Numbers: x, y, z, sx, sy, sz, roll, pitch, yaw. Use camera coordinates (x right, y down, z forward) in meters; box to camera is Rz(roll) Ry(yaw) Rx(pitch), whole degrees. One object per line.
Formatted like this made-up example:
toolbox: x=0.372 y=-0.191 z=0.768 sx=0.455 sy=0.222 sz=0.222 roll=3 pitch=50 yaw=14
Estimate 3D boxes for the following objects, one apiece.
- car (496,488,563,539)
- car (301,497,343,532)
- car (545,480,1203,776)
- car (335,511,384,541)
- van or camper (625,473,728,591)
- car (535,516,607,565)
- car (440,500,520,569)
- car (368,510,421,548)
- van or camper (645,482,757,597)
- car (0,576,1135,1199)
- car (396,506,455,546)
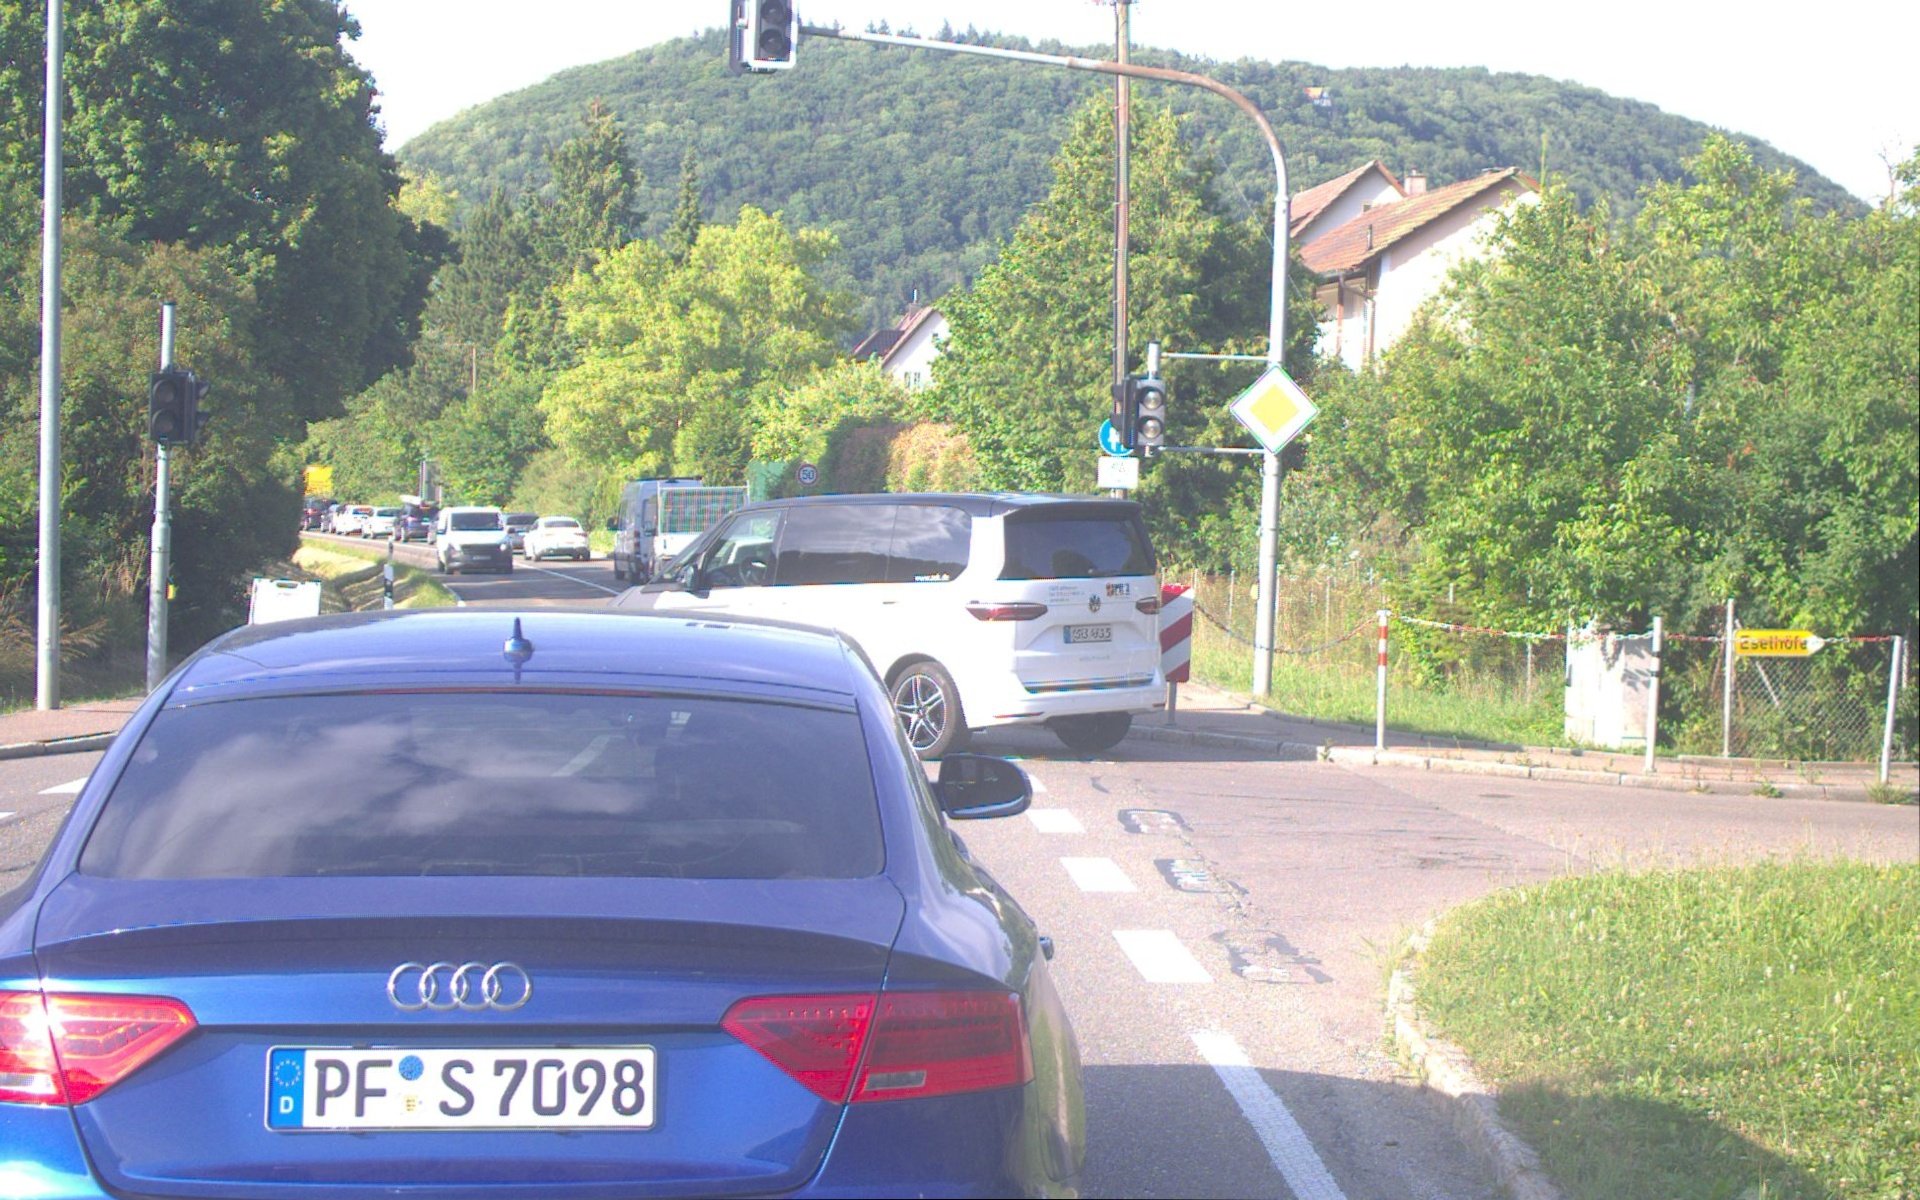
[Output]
car: x=-15.521 y=-3.110 z=123.799 sx=1.796 sy=1.787 sz=4.001 roll=-1 pitch=1 yaw=-16
car: x=-32.970 y=-4.413 z=177.641 sx=1.771 sy=1.776 sz=4.001 roll=-1 pitch=1 yaw=-16
car: x=-0.737 y=0.136 z=25.821 sx=4.868 sy=1.870 sz=1.995 roll=4 pitch=3 yaw=43
car: x=-28.892 y=-3.556 z=165.238 sx=1.941 sy=1.419 sz=4.001 roll=0 pitch=2 yaw=-16
van or camper: x=-7.272 y=-1.769 z=87.700 sx=2.414 sy=2.894 sz=6.133 roll=0 pitch=2 yaw=-6
car: x=-12.690 y=-1.955 z=111.980 sx=1.819 sy=1.546 sz=4.001 roll=-1 pitch=1 yaw=-13
car: x=-13.851 y=-1.921 z=99.055 sx=1.993 sy=1.897 sz=5.255 roll=-1 pitch=2 yaw=-11
car: x=-25.731 y=-3.235 z=156.352 sx=1.941 sy=1.678 sz=4.001 roll=-1 pitch=1 yaw=-16
van or camper: x=-5.611 y=-1.328 z=73.946 sx=2.179 sy=2.377 sz=5.371 roll=0 pitch=2 yaw=-6
car: x=-0.772 y=0.695 z=6.481 sx=1.829 sy=1.404 sz=4.227 roll=-1 pitch=1 yaw=-2
car: x=-23.023 y=-3.203 z=148.062 sx=2.040 sy=1.678 sz=4.002 roll=0 pitch=2 yaw=-16
